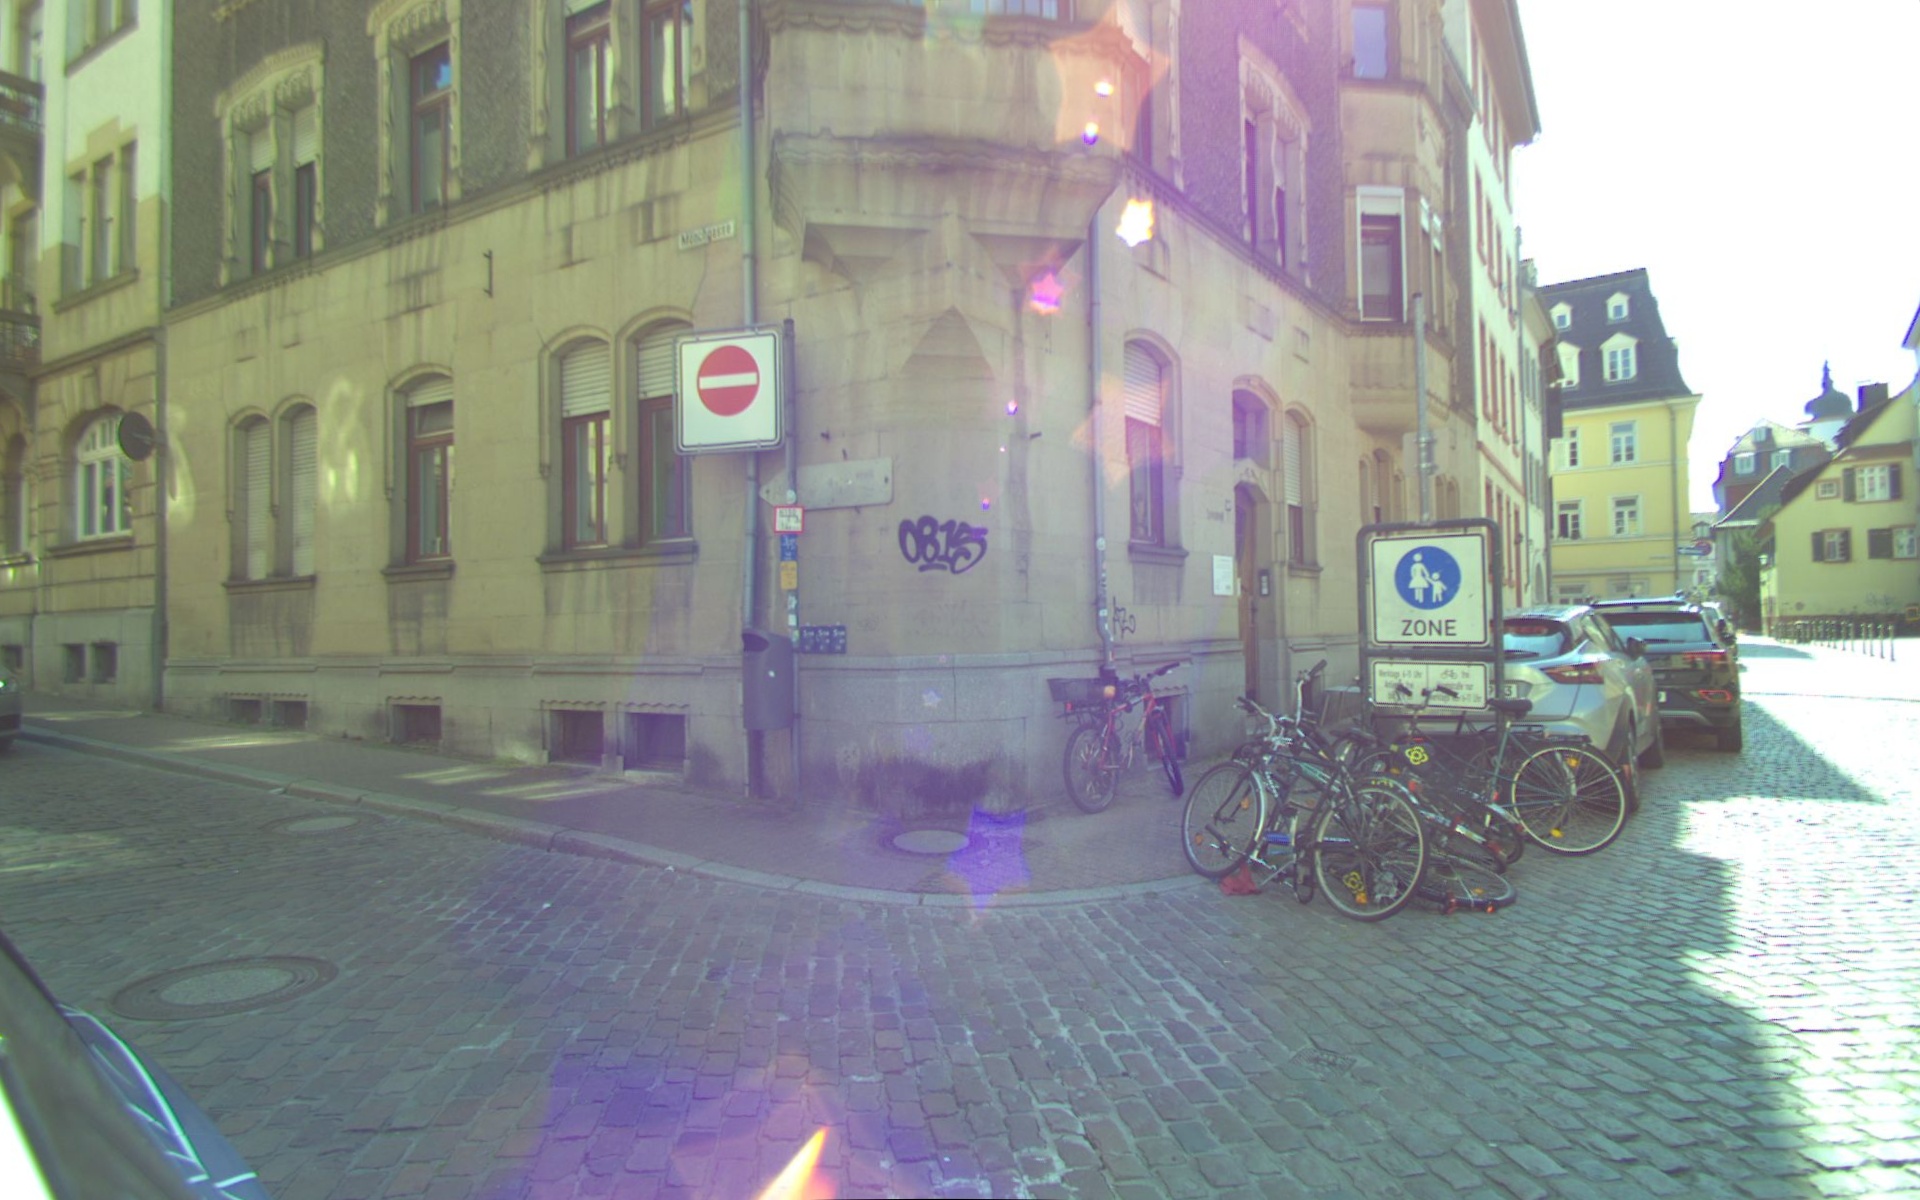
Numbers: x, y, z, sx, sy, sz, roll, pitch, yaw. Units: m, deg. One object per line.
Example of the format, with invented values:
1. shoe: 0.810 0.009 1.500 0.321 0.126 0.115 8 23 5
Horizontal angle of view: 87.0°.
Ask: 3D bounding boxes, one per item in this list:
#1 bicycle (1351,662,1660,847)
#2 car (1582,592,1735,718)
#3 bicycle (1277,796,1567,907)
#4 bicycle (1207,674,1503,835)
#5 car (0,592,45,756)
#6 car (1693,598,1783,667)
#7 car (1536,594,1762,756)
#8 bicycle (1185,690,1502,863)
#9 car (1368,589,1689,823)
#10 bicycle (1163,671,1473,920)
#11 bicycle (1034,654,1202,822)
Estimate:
1. bicycle: 3.412 0.981 6.426 1.625 1.094 0.285 -4 -4 12
2. car: 10.654 0.727 15.331 1.567 1.648 3.809 -1 0 40
3. bicycle: 2.604 1.385 5.745 1.061 0.290 1.126 0 -2 -37
4. bicycle: 2.495 0.961 6.388 1.635 1.080 0.287 -1 42 28
5. car: -10.985 0.681 9.848 4.366 1.503 1.858 0 -1 30
6. car: 18.236 0.706 23.712 1.567 1.454 3.597 -1 0 38
7. car: 8.223 0.730 11.928 1.851 1.556 3.947 -1 0 39
8. bicycle: 2.256 1.023 5.957 1.635 1.080 0.287 -1 42 28
9. car: 5.121 0.753 8.855 1.850 1.556 3.878 -2 -2 38
10. bicycle: 1.847 0.965 5.469 0.281 1.094 1.646 -3 0 -37
11. bicycle: 1.256 0.998 7.795 0.495 1.094 1.621 3 1 38
